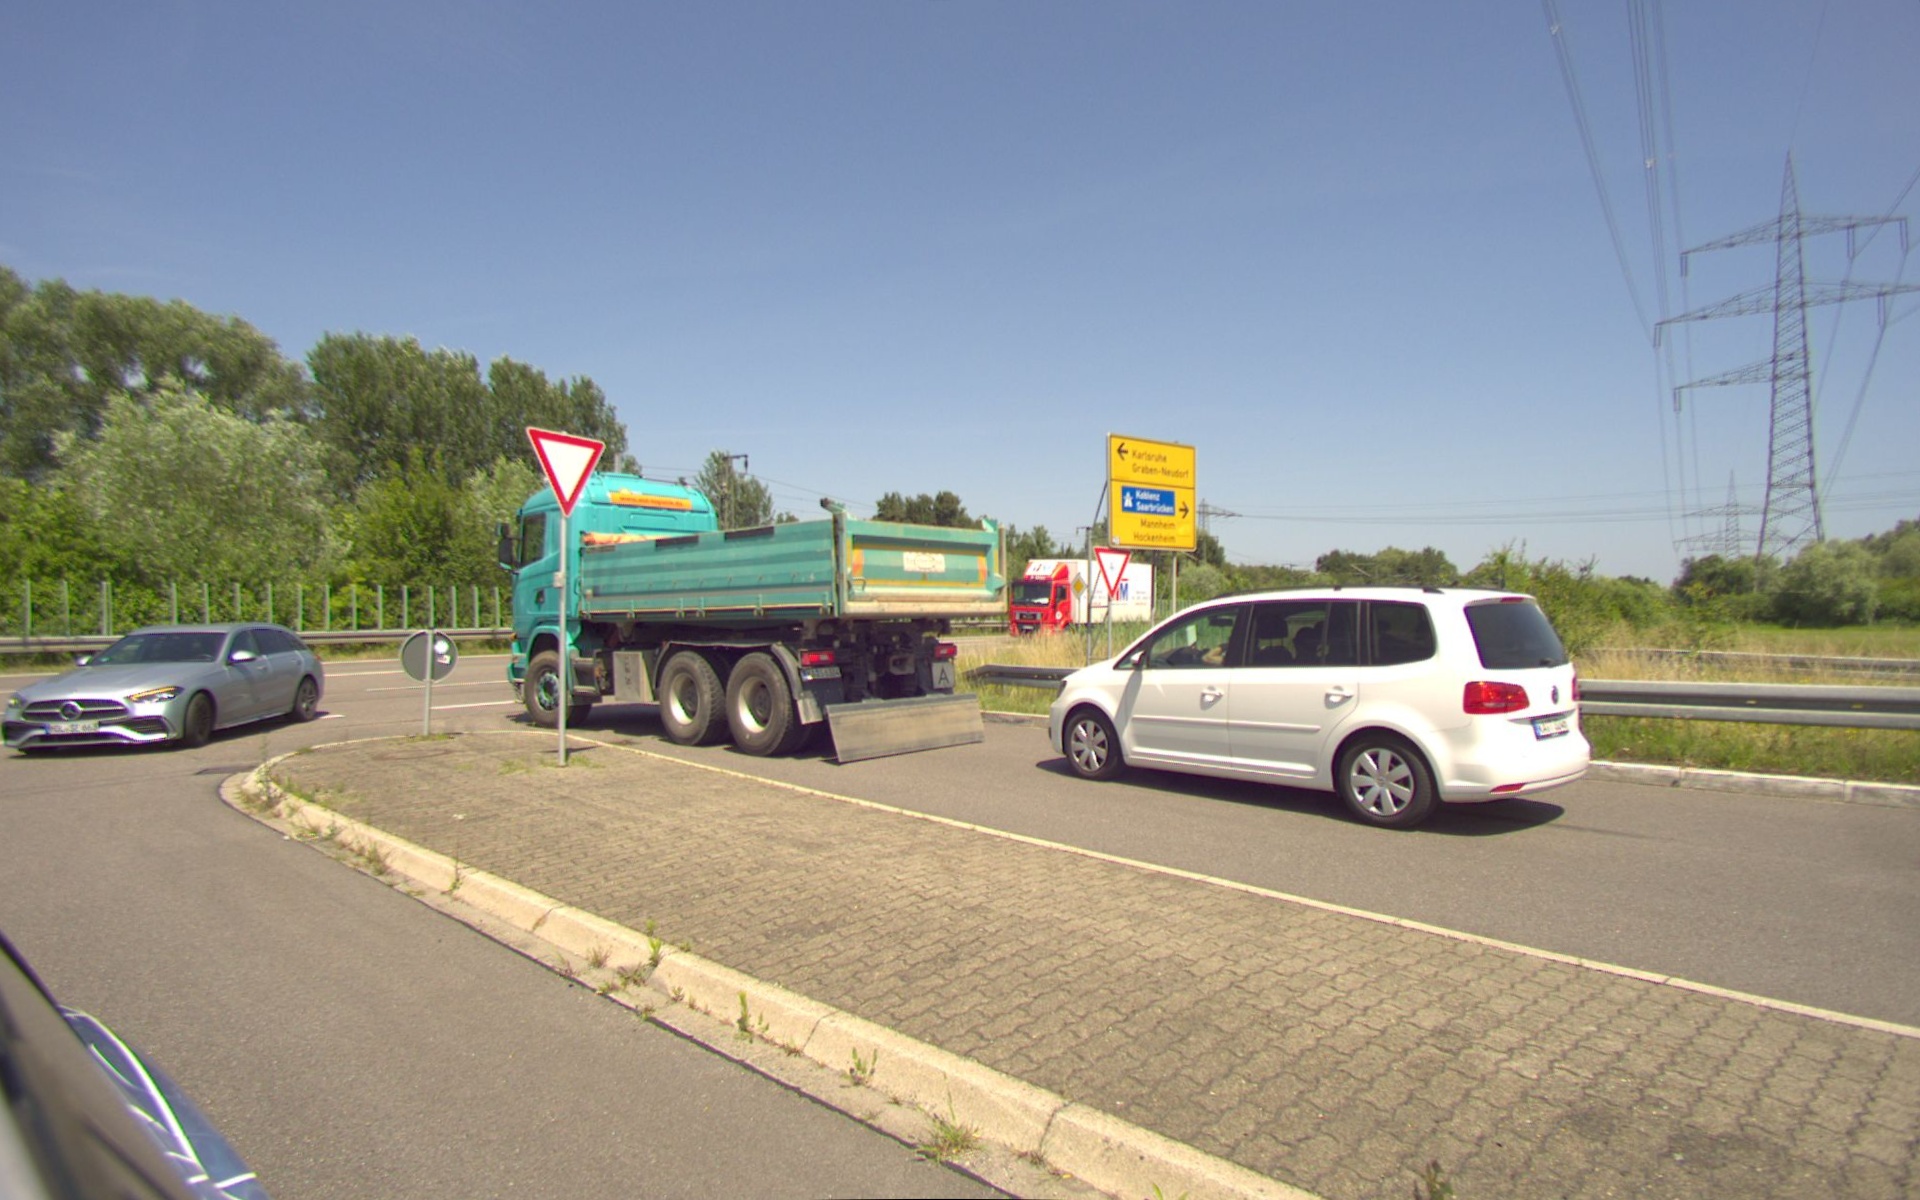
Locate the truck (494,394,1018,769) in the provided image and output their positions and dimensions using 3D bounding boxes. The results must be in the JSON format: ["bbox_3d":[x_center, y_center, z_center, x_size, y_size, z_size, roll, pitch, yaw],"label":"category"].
[{"bbox_3d":[-3.036,-0.071,12.955,7.608,3.498,2.574,-2,-2,42],"label":"truck"}]

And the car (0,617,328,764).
[{"bbox_3d":[-9.986,0.999,12.875,1.796,1.498,4.156,1,0,-9],"label":"car"}]

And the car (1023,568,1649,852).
[{"bbox_3d":[2.667,0.680,8.077,1.750,1.633,4.337,-2,0,-41],"label":"car"}]

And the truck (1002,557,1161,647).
[{"bbox_3d":[5.636,-0.005,45.100,2.720,3.606,9.439,-1,0,36],"label":"truck"}]
